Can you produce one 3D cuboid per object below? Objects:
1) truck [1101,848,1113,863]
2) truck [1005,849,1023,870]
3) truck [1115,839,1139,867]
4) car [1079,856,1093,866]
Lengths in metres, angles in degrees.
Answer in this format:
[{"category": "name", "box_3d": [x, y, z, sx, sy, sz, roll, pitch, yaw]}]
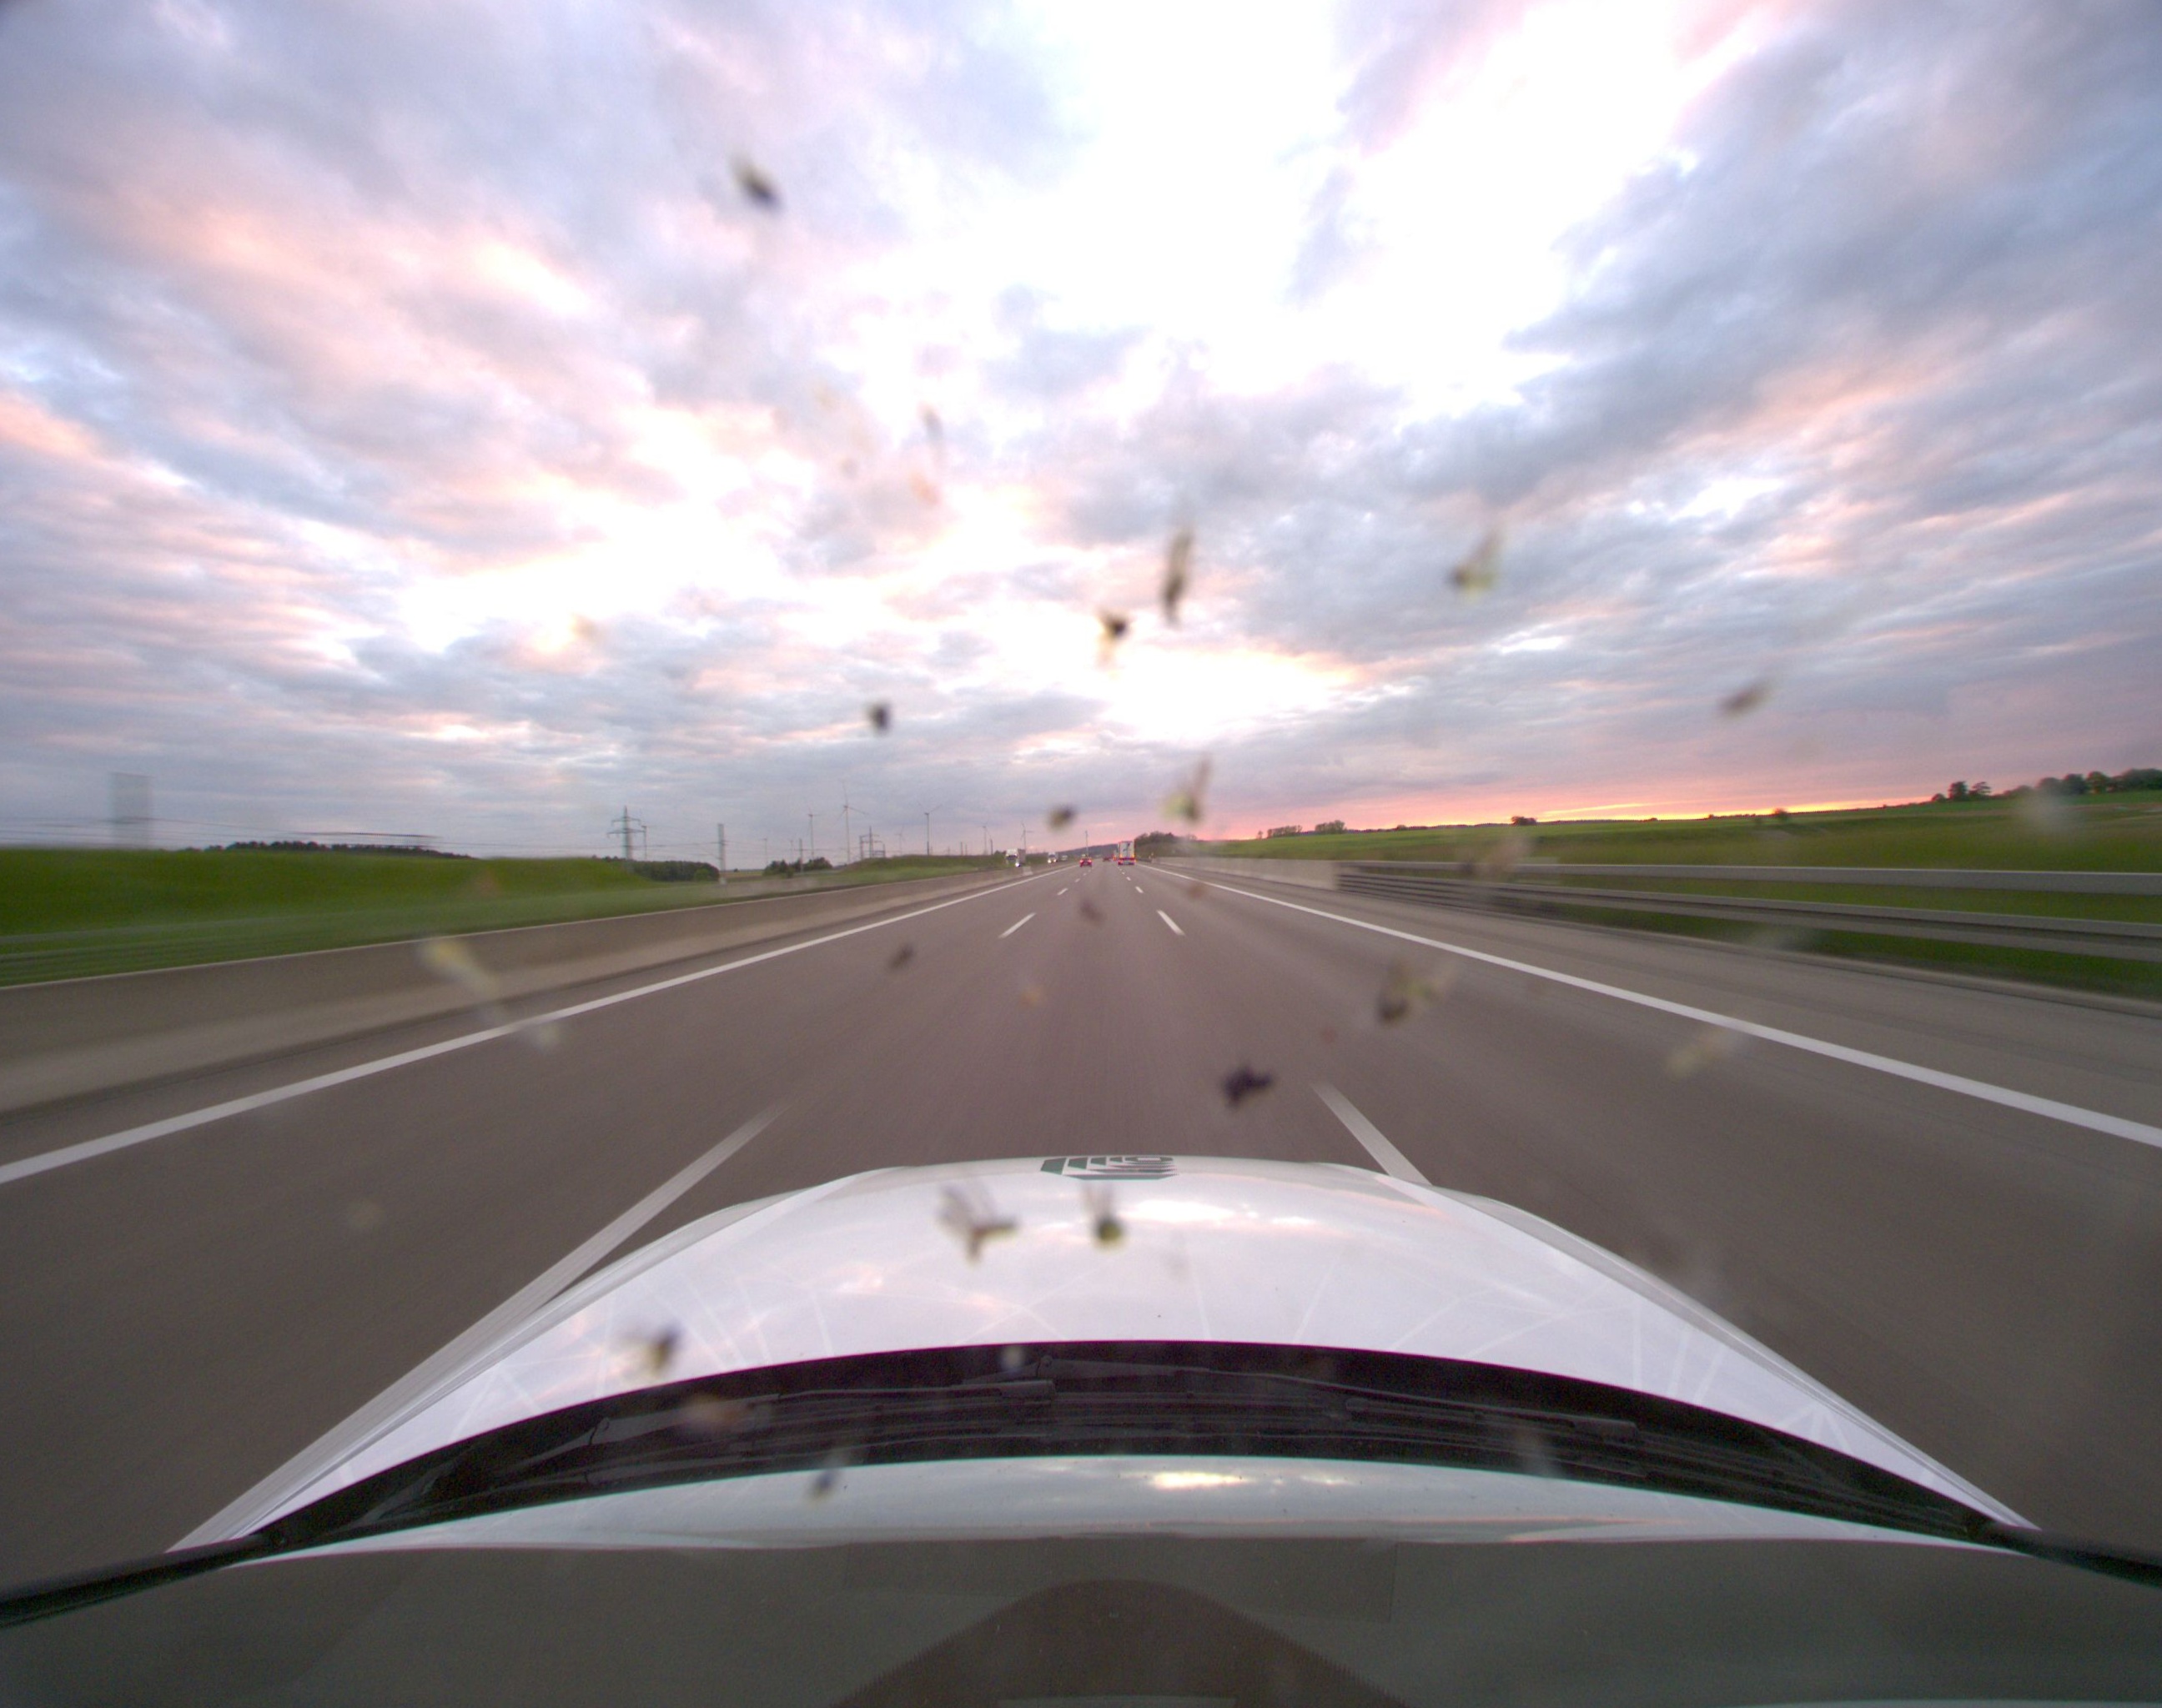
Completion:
[{"category": "truck", "box_3d": [8.064, 0.361, 252.738, 3.634, 4.414, 8.638, -3, 0, 1]}, {"category": "truck", "box_3d": [-14.167, 1.188, 172.006, 2.807, 4.352, 6.742, -1, 0, 2]}, {"category": "truck", "box_3d": [7.848, -0.199, 141.167, 3.661, 4.564, 10.985, -3, 0, 2]}, {"category": "car", "box_3d": [0.802, 1.017, 124.523, 1.980, 1.429, 4.002, -3, 0, 2]}]
